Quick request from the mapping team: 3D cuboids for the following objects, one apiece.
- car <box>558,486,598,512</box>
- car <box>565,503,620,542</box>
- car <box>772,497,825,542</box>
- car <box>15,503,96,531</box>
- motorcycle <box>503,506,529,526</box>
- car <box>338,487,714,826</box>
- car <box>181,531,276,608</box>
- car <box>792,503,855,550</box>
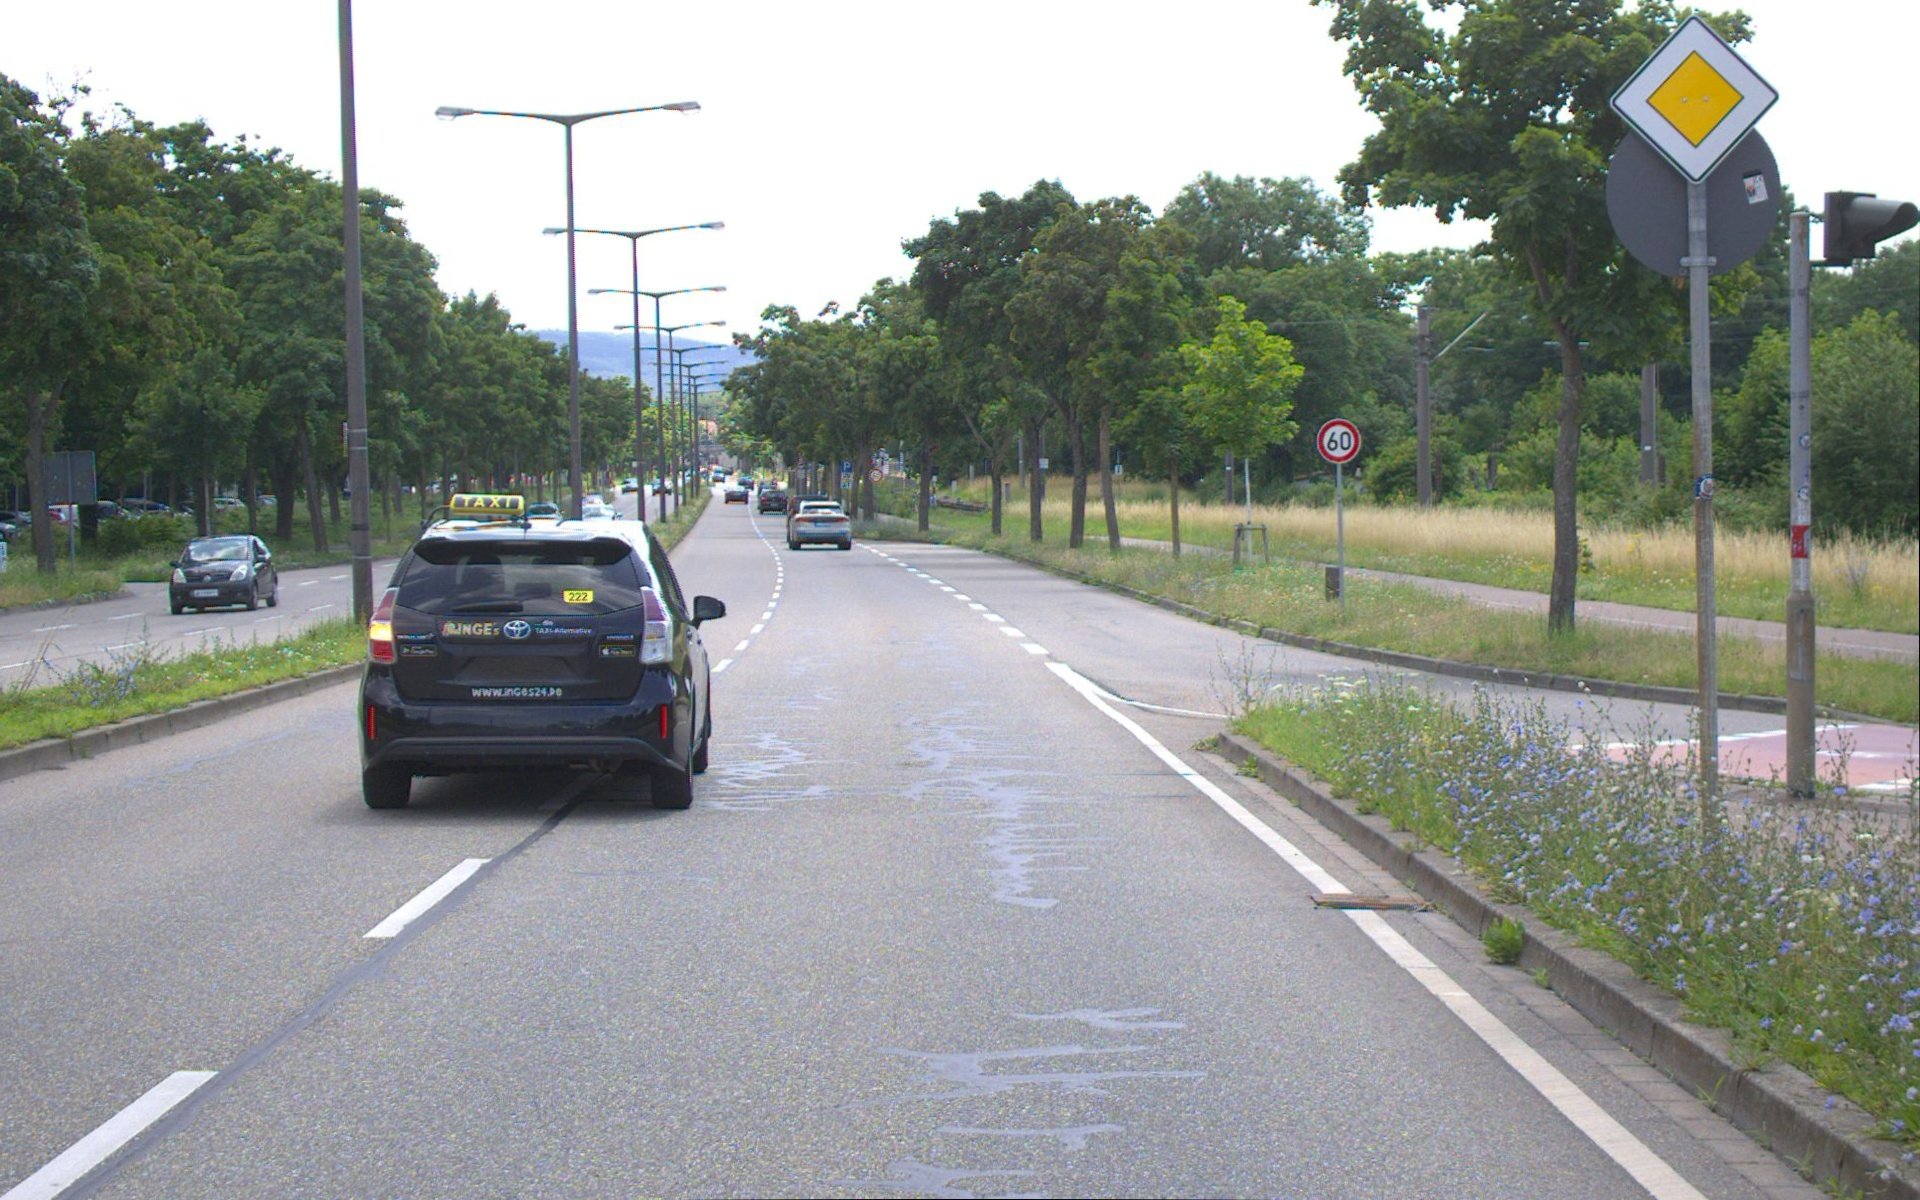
[{"bbox_3d":[-22.839,-6.044,205.700,1.879,1.503,3.798,1,2,1],"label":"car"},{"bbox_3d":[-14.173,-3.003,132.678,1.810,1.393,4.735,-1,2,-3],"label":"car"},{"bbox_3d":[-6.222,-3.113,132.811,1.993,1.656,4.001,1,2,-2],"label":"car"},{"bbox_3d":[-47.614,-4.357,181.034,3.785,1.383,1.786,1,2,1],"label":"car"},{"bbox_3d":[-17.543,-3.322,135.865,0.751,0.769,2.672,1,2,-2],"label":"motorcycle"},{"bbox_3d":[-2.354,0.224,19.508,1.779,1.678,4.001,1,2,-2],"label":"car"},{"bbox_3d":[-13.977,-0.603,65.785,1.700,1.422,3.676,-1,1,-11],"label":"car"},{"bbox_3d":[-4.682,-2.517,117.687,1.993,1.503,4.001,1,2,-4],"label":"car"}]
